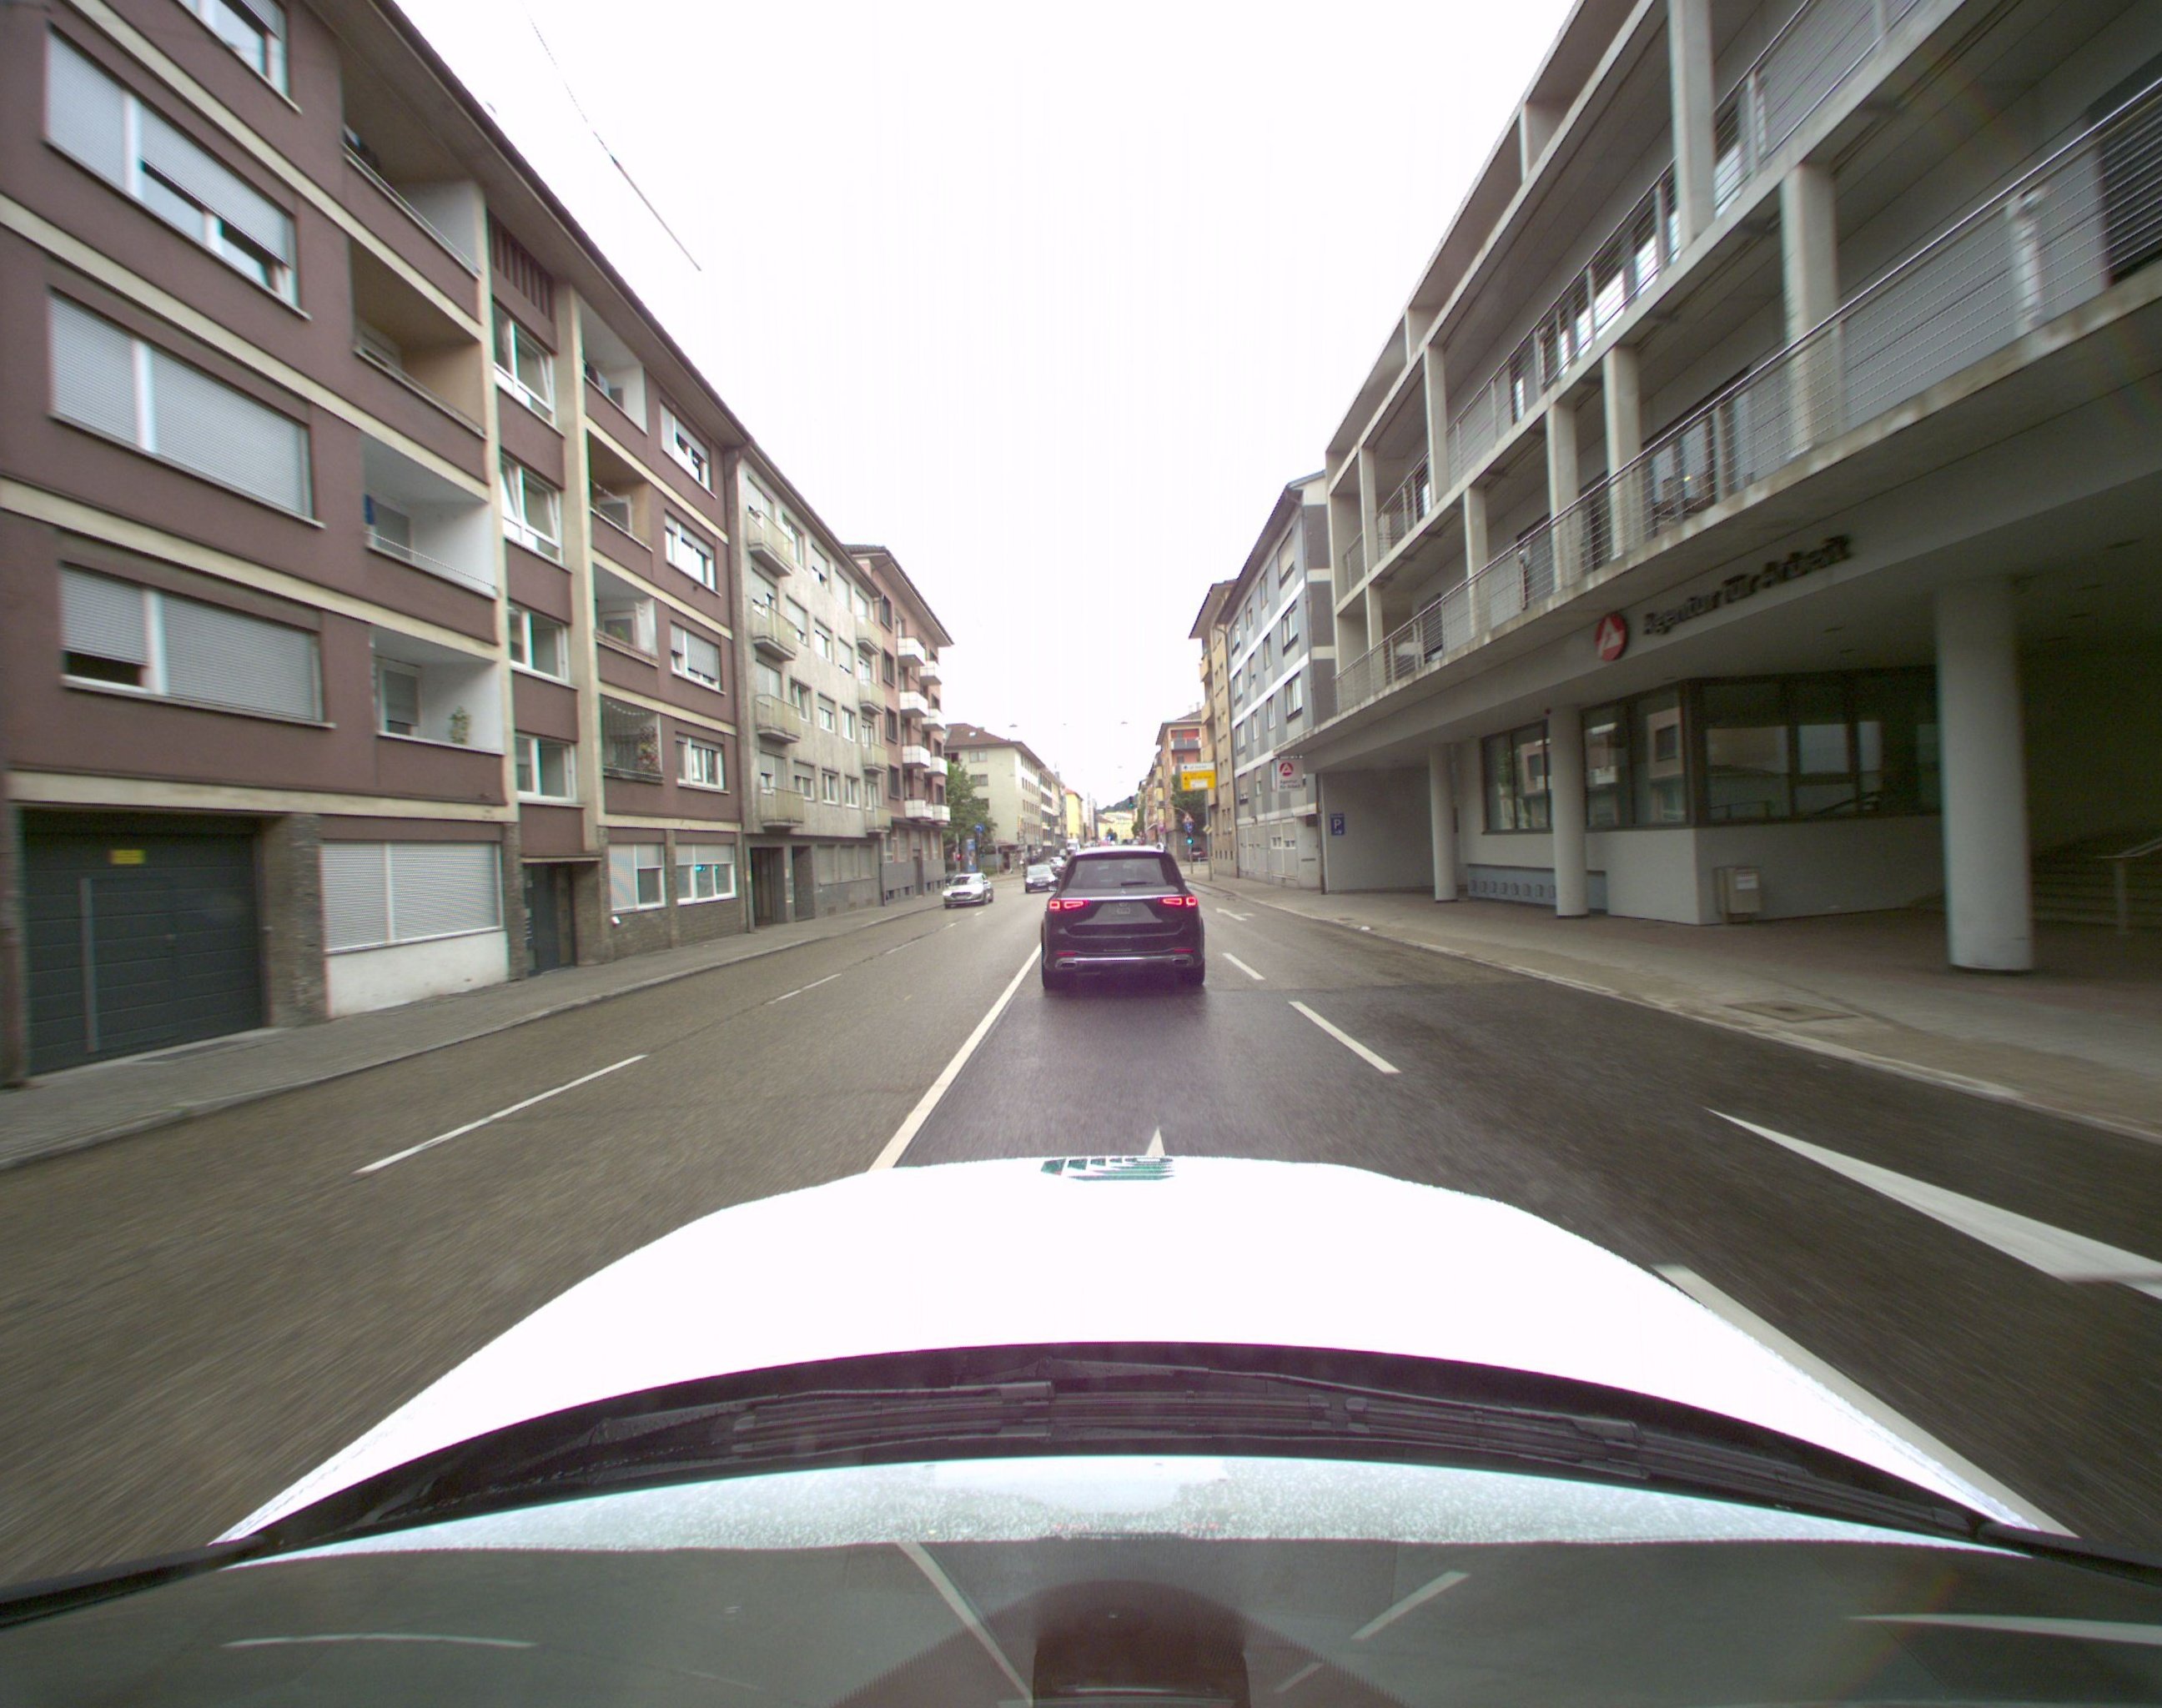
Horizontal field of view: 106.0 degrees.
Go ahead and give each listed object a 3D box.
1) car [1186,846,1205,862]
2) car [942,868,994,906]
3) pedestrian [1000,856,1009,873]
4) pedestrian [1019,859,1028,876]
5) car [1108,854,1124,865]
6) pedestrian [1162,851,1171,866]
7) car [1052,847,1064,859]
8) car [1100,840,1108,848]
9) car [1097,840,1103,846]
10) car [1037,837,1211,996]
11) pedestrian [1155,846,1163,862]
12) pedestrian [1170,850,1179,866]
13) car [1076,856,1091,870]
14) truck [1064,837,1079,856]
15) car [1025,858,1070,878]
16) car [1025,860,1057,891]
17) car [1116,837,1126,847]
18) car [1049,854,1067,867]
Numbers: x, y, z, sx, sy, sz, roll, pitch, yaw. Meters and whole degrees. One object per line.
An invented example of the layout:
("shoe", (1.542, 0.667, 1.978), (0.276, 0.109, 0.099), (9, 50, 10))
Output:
("car", (12.357, 0.049, 87.989), (1.664, 1.588, 3.334), (-3, -1, 4))
("car", (-5.103, 1.465, 37.249), (1.767, 1.539, 4.356), (-4, -1, -1))
("pedestrian", (-8.970, 1.255, 95.892), (0.920, 1.902, 0.706), (-3, -1, 0))
("pedestrian", (-6.219, 1.446, 88.306), (0.630, 1.764, 0.777), (-3, -1, 19))
("car", (4.747, 0.737, 109.997), (1.987, 1.351, 4.000), (-4, -1, 1))
("pedestrian", (10.423, 0.528, 98.790), (0.920, 1.804, 0.706), (-3, -1, 0))
("car", (-3.468, -0.167, 125.417), (1.613, 1.539, 4.216), (-4, -1, 0))
("car", (5.612, -2.449, 196.197), (1.613, 1.539, 4.216), (-4, -1, 0))
("car", (5.624, -3.196, 243.823), (1.613, 1.539, 4.216), (-4, -1, 0))
("car", (0.564, 0.749, 11.471), (1.977, 1.805, 4.391), (0, -1, 2))
("pedestrian", (10.238, -0.043, 106.531), (0.920, 2.013, 0.706), (-3, -1, 0))
("pedestrian", (11.353, 0.475, 98.772), (0.859, 1.824, 0.706), (-3, -1, 0))
("car", (0.260, 1.057, 94.881), (1.613, 1.539, 4.216), (-4, -1, 0))
("truck", (-1.644, -1.299, 150.854), (2.472, 3.046, 9.916), (-4, -1, 0))
("car", (-3.033, 1.271, 72.348), (1.786, 1.539, 4.309), (-3, -2, -37))
("car", (-2.443, 1.273, 49.306), (1.769, 1.645, 4.405), (-4, 0, -4))
("car", (8.476, -2.478, 172.676), (1.718, 1.760, 4.216), (-4, -1, 0))
("car", (-2.682, 0.797, 94.291), (1.879, 1.264, 4.216), (-4, -1, 0))
